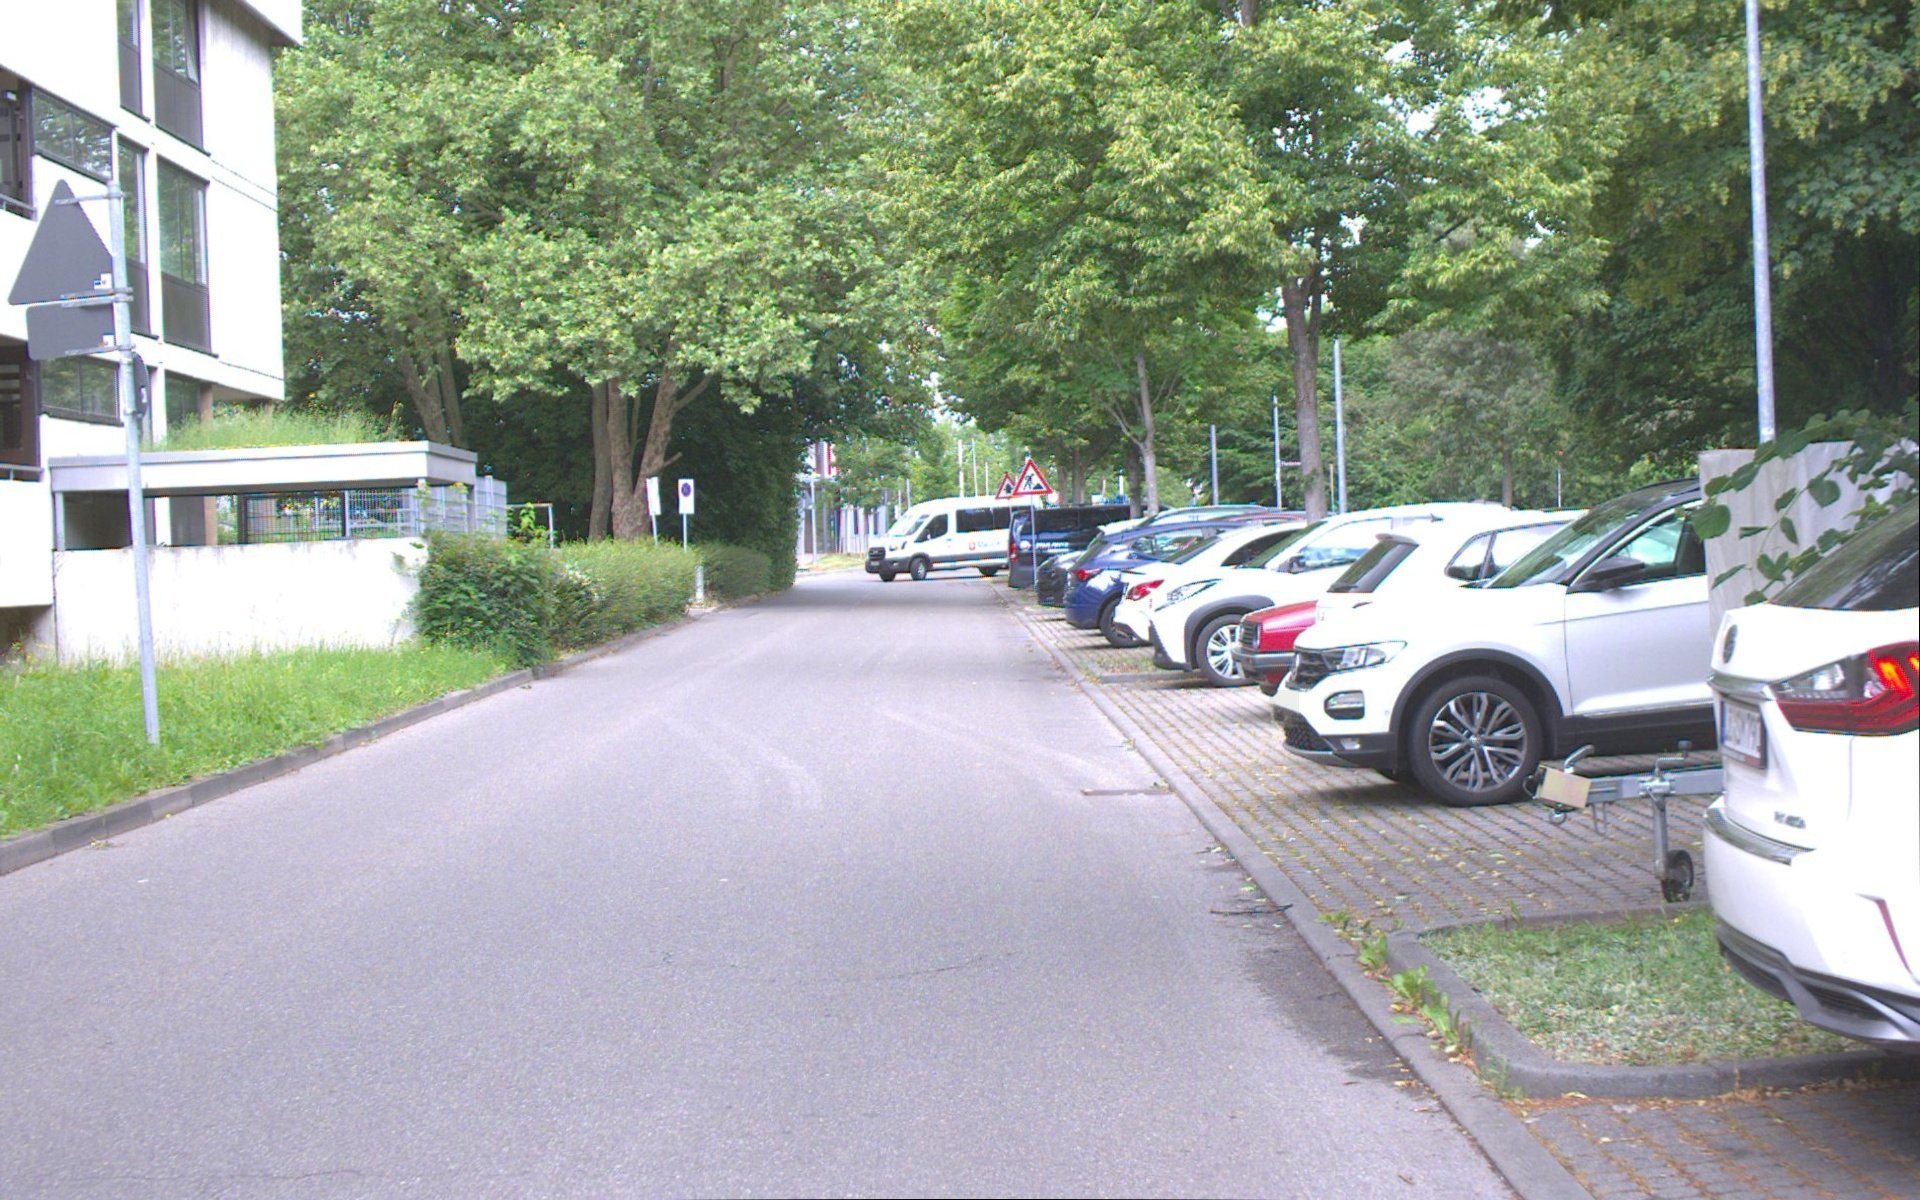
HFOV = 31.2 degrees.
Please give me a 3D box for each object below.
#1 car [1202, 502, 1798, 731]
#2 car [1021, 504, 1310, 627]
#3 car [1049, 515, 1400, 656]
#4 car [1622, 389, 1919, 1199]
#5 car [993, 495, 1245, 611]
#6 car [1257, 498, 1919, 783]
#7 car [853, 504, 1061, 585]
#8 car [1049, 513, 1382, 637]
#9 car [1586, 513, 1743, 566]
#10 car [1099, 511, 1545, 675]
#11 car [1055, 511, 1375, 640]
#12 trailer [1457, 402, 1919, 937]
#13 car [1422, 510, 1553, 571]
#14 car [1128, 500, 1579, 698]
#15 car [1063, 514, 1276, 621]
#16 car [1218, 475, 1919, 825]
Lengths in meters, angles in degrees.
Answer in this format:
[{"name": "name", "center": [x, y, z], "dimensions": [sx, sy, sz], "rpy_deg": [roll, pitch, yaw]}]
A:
[{"name": "car", "center": [3.946, 0.108, 25.594], "dimensions": [4.054, 1.417, 1.817], "rpy_deg": [-3, 1, -1]}, {"name": "car", "center": [3.244, -0.568, 55.009], "dimensions": [4.415, 1.670, 2.082], "rpy_deg": [-3, 1, 0]}, {"name": "car", "center": [3.174, -0.182, 41.875], "dimensions": [4.072, 1.451, 1.851], "rpy_deg": [-3, 1, 1]}, {"name": "car", "center": [4.051, 0.306, 7.479], "dimensions": [4.818, 1.687, 1.974], "rpy_deg": [-3, 1, 3]}, {"name": "car", "center": [3.233, -0.961, 70.490], "dimensions": [4.954, 2.007, 2.166], "rpy_deg": [-4, 1, 1]}, {"name": "car", "center": [3.943, 0.206, 20.467], "dimensions": [4.007, 1.417, 1.792], "rpy_deg": [-3, 1, -5]}, {"name": "car", "center": [-0.077, -1.744, 106.940], "dimensions": [6.256, 2.467, 2.139], "rpy_deg": [-1, 1, -31]}, {"name": "car", "center": [3.657, -0.377, 49.840], "dimensions": [4.636, 1.512, 1.982], "rpy_deg": [-3, 1, 2]}, {"name": "car", "center": [20.892, -1.784, 102.049], "dimensions": [4.393, 1.423, 1.703], "rpy_deg": [-2, 0, 6]}, {"name": "car", "center": [3.804, -0.082, 36.703], "dimensions": [4.485, 1.449, 1.846], "rpy_deg": [-3, 1, 0]}, {"name": "car", "center": [3.446, -0.338, 46.998], "dimensions": [4.072, 1.512, 1.851], "rpy_deg": [-3, 1, -4]}, {"name": "trailer", "center": [3.547, 0.185, 12.759], "dimensions": [3.029, 1.784, 1.563], "rpy_deg": [-3, 1, -3]}, {"name": "car", "center": [15.747, -1.761, 102.738], "dimensions": [3.780, 1.662, 1.767], "rpy_deg": [-2, 0, 7]}, {"name": "car", "center": [3.472, -0.018, 30.934], "dimensions": [3.840, 1.510, 1.881], "rpy_deg": [-3, 1, 3]}, {"name": "car", "center": [3.485, -0.556, 57.615], "dimensions": [3.379, 1.569, 1.796], "rpy_deg": [-3, 1, 1]}, {"name": "car", "center": [3.547, 0.210, 17.919], "dimensions": [4.112, 1.542, 1.861], "rpy_deg": [-3, 1, -3]}]
